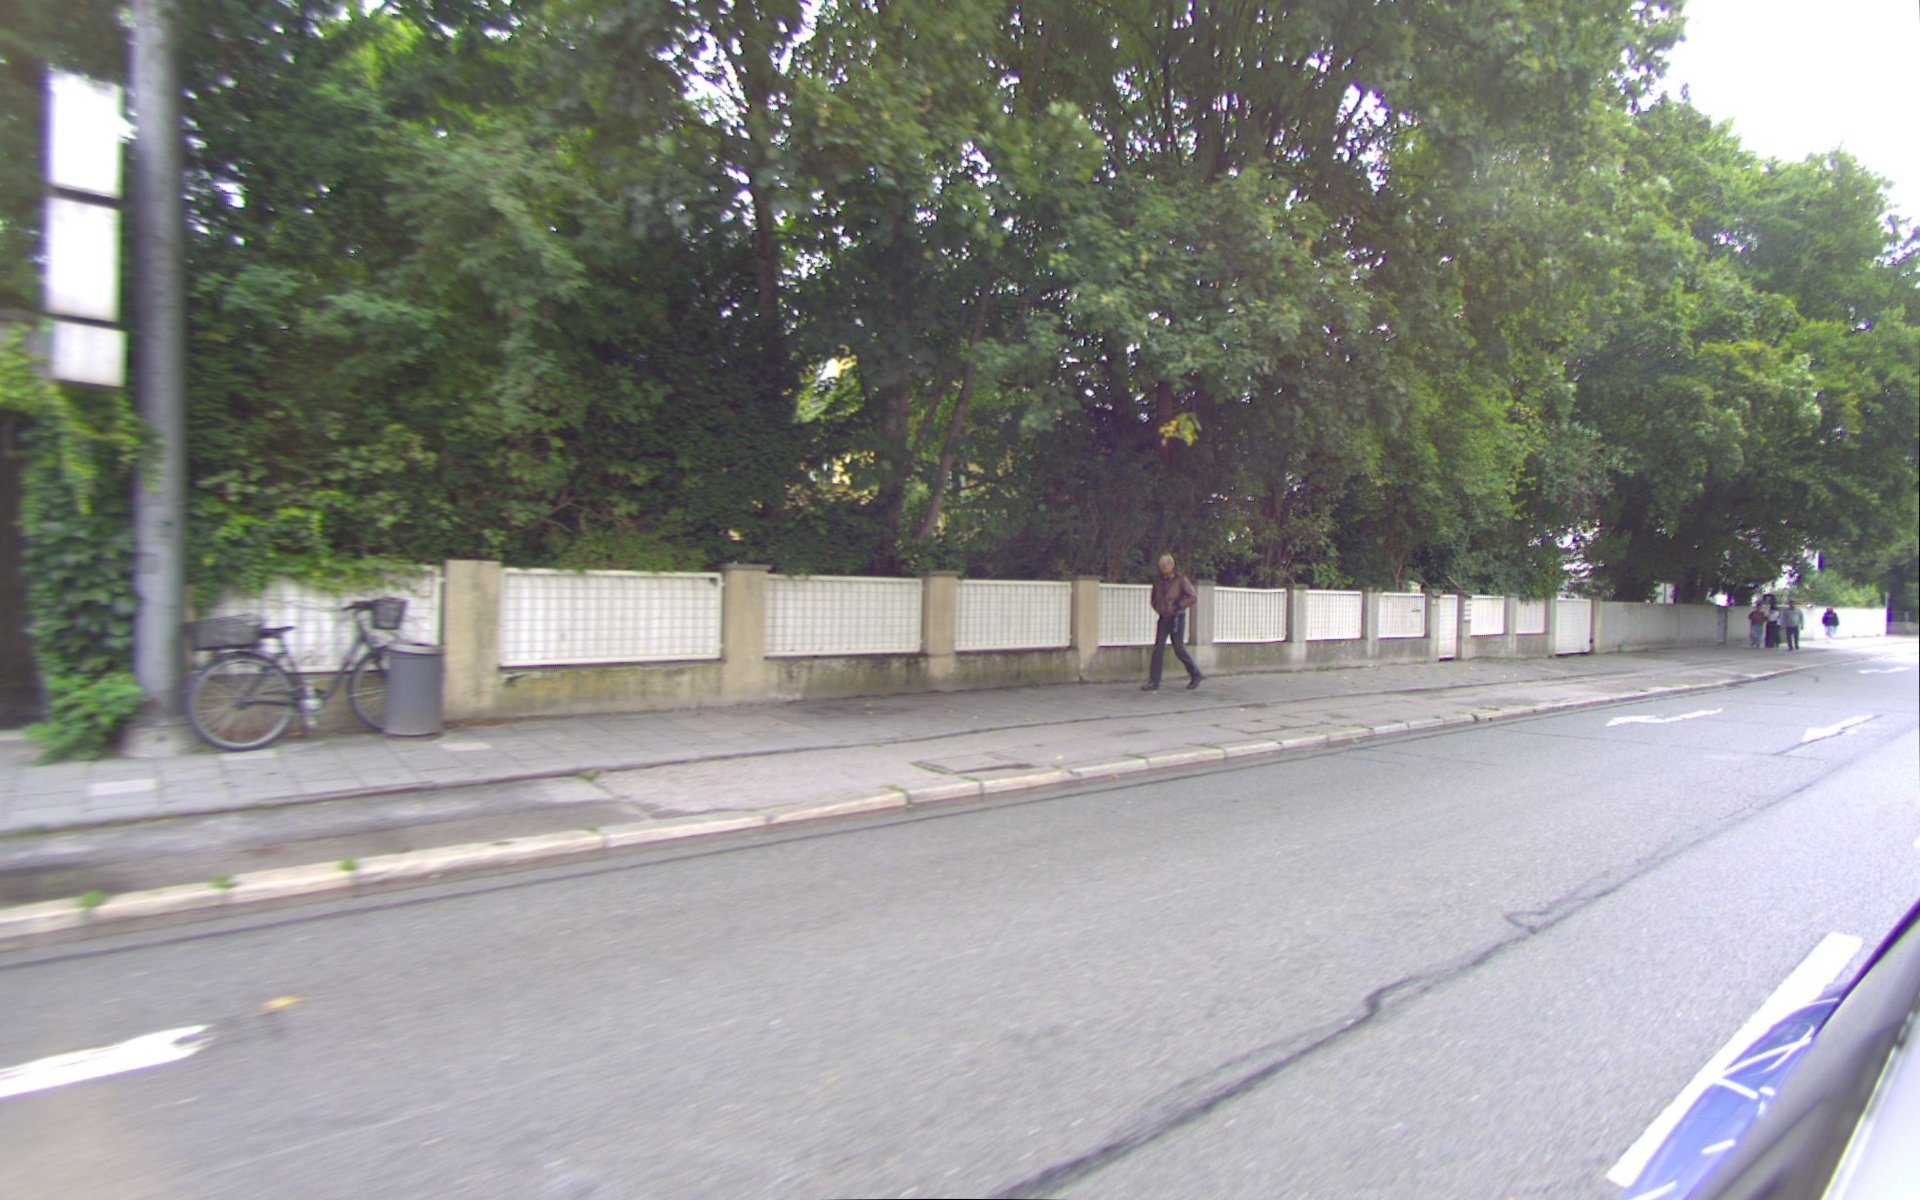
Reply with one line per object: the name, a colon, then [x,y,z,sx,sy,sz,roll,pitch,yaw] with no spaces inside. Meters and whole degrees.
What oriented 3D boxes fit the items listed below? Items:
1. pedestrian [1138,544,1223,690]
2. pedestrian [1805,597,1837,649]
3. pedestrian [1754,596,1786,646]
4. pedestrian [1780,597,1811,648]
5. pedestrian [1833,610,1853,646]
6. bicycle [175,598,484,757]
pedestrian: [3.081,0.213,14.148,0.788,1.966,0.779,1,2,-40]
pedestrian: [29.856,0.783,35.091,0.716,1.743,0.667,1,3,-41]
pedestrian: [29.007,0.740,36.240,0.753,1.726,0.667,1,3,-41]
pedestrian: [29.413,0.777,35.627,0.716,1.713,0.667,1,3,-41]
pedestrian: [40.391,1.261,46.285,0.716,1.600,0.529,1,3,-41]
bicycle: [-4.928,0.551,8.008,1.990,1.104,0.623,1,1,-41]
